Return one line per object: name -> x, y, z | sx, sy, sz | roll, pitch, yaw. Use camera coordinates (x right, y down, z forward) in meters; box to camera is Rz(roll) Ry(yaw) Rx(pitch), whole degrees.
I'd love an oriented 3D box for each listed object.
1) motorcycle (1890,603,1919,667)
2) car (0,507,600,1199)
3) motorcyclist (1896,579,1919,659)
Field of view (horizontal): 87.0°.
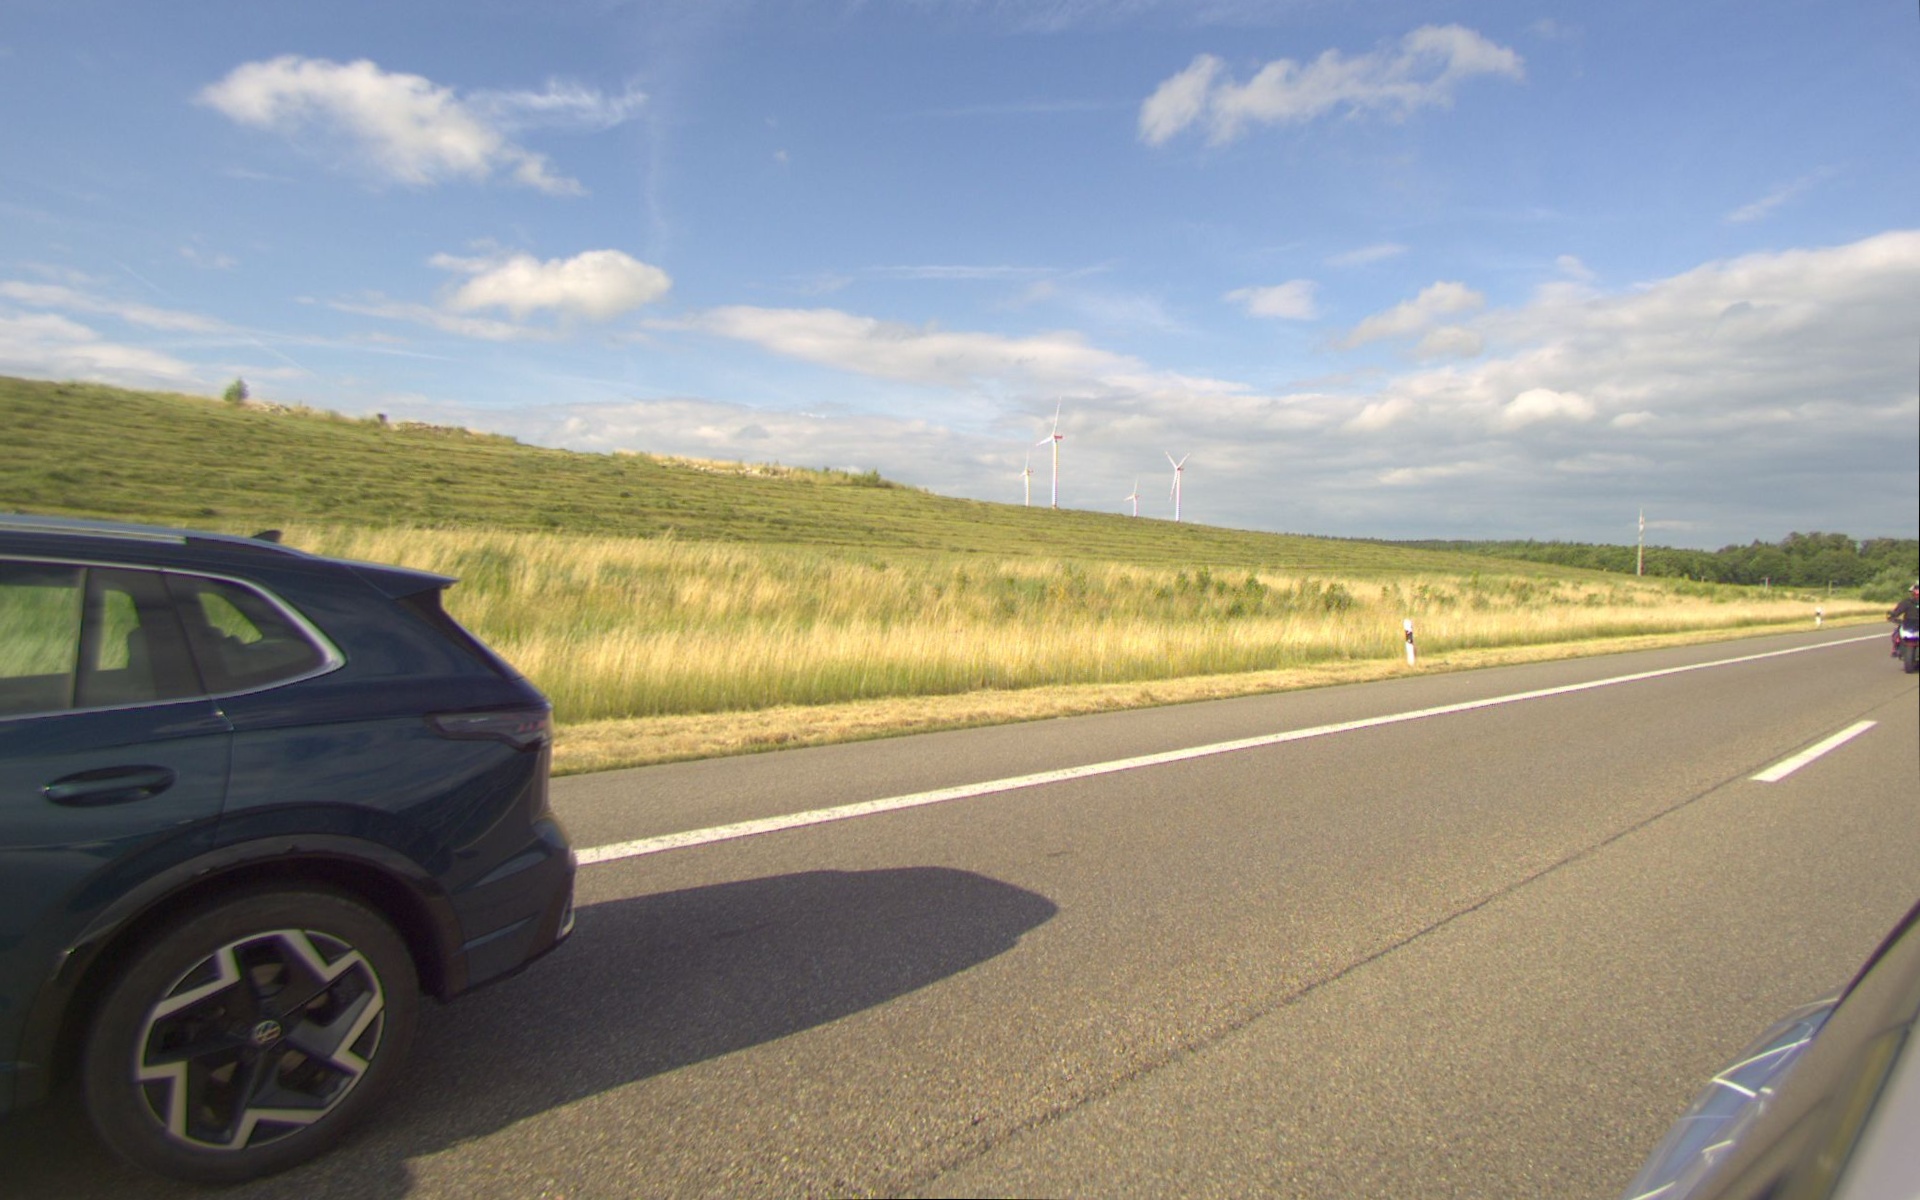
motorcycle -> 19.328, 0.677, 20.208 | 2.217, 1.205, 0.897 | -1, 1, -41
car -> -3.242, 0.611, 2.373 | 4.161, 1.621, 1.824 | -1, 1, -41
motorcyclist -> 19.360, 0.363, 20.239 | 0.918, 1.579, 0.851 | -1, 0, -41
